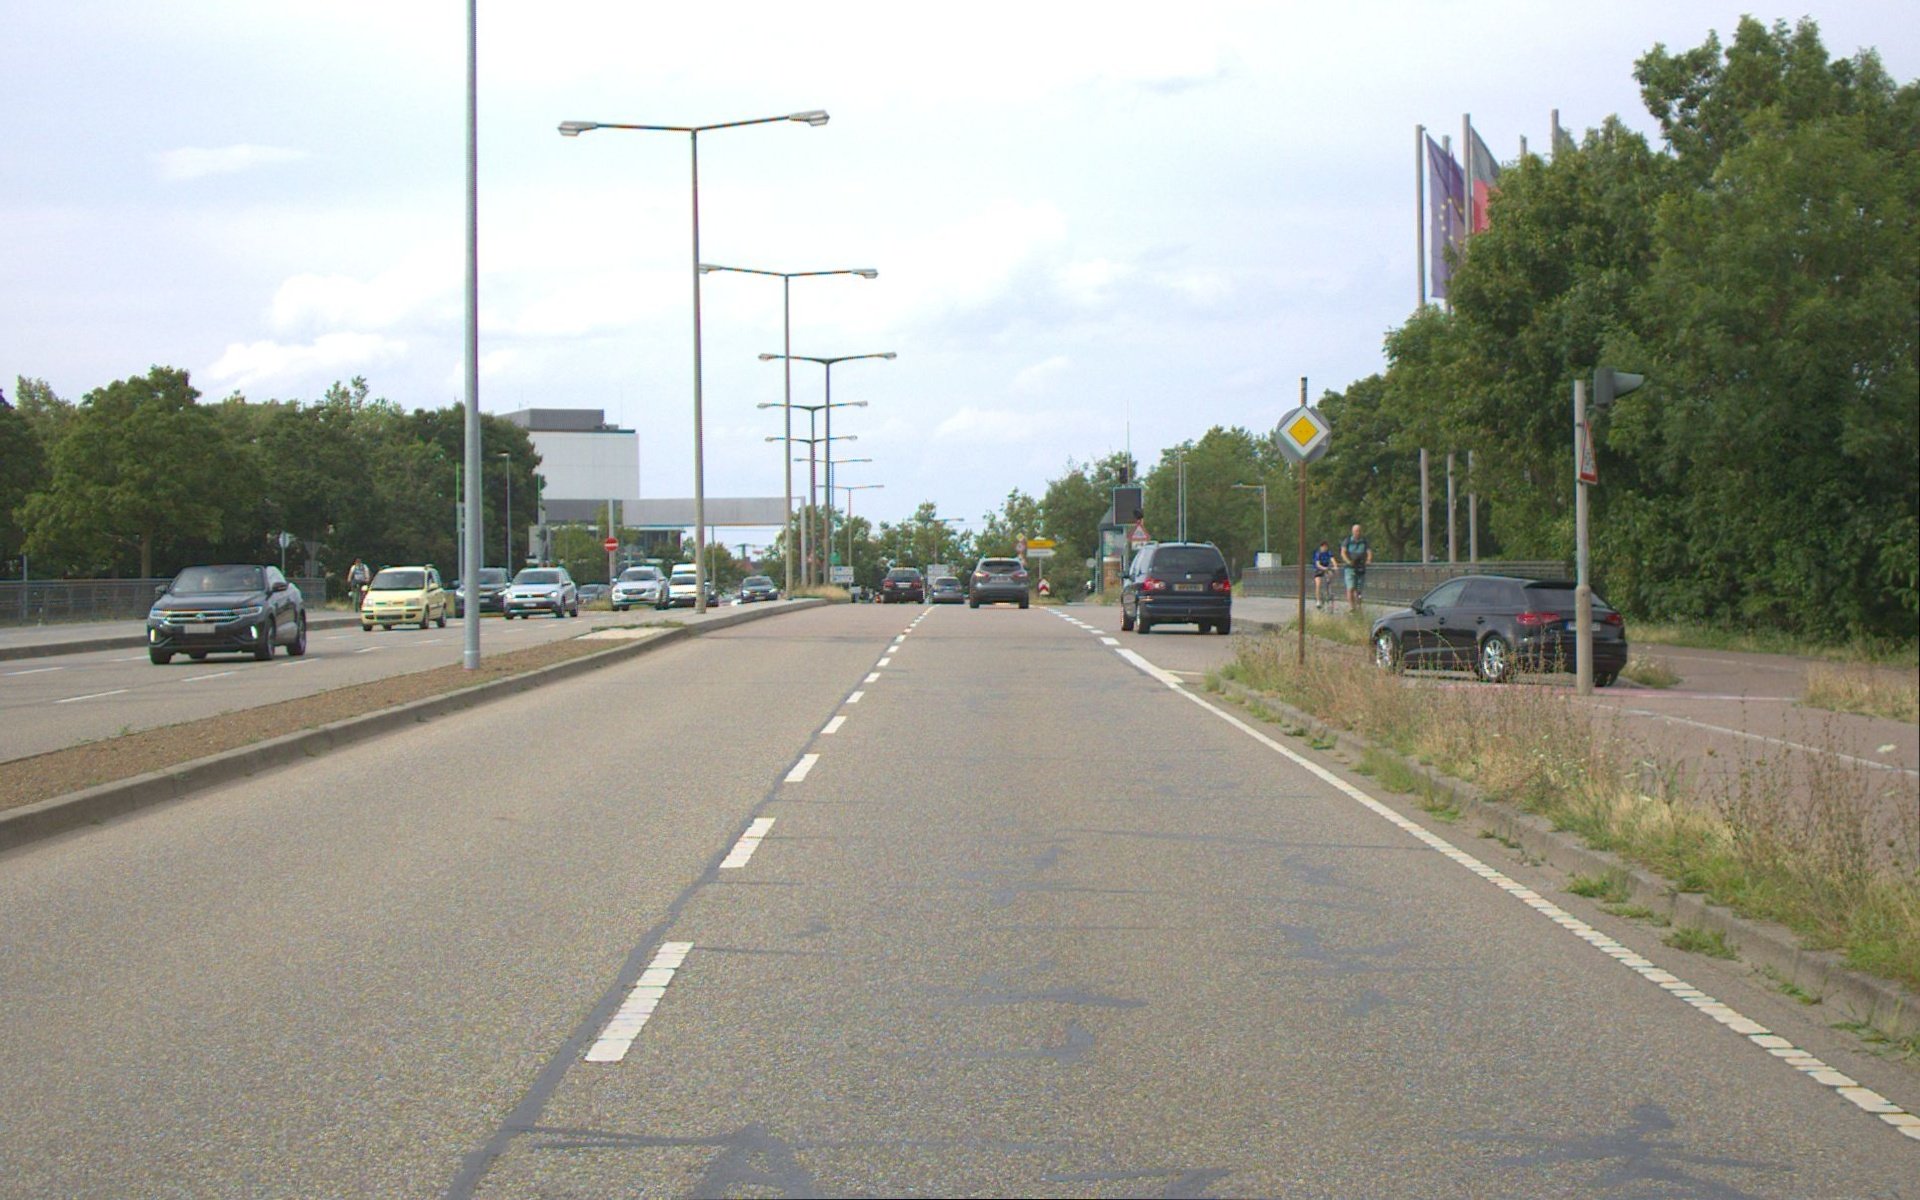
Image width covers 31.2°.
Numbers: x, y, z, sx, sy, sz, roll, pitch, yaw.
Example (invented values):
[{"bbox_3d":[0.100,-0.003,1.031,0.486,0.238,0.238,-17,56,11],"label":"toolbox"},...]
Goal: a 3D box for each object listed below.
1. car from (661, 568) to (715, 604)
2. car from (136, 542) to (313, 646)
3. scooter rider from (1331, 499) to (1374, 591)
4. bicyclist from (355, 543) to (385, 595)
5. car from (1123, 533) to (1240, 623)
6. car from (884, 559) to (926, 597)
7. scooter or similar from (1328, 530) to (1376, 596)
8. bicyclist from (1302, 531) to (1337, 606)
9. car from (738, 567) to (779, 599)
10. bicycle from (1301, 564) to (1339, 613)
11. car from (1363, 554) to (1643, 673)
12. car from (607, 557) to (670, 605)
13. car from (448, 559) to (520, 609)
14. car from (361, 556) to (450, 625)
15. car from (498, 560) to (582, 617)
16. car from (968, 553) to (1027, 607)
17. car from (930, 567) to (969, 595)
[{"bbox_3d":[-11.805,-0.612,149.537,1.738,1.475,4.471,-2,1,3],"label":"car"},{"bbox_3d":[-11.086,-0.125,52.089,1.763,1.436,4.177,-2,1,0],"label":"car"},{"bbox_3d":[7.320,-1.022,64.168,0.587,1.685,0.744,1,0,-9],"label":"scooter rider"},{"bbox_3d":[-18.898,-0.996,110.138,0.795,1.621,0.976,1,0,-3],"label":"bicyclist"},{"bbox_3d":[4.194,-0.406,65.681,1.730,1.647,4.115,1,0,-3],"label":"car"},{"bbox_3d":[-2.447,-0.981,153.564,1.730,1.647,4.115,1,0,0],"label":"car"},{"bbox_3d":[7.311,-0.696,64.214,0.588,1.220,1.203,1,0,-8],"label":"scooter or similar"},{"bbox_3d":[8.044,-0.715,76.894,0.664,1.653,0.805,1,2,-1],"label":"bicyclist"},{"bbox_3d":[-10.190,-0.853,174.191,1.738,1.475,4.776,-2,0,0],"label":"car"},{"bbox_3d":[8.044,-0.264,76.890,0.577,1.018,1.976,-3,2,0],"label":"bicycle"},{"bbox_3d":[6.984,0.135,44.627,1.730,1.390,4.116,-1,2,-21],"label":"car"},{"bbox_3d":[-12.298,-0.735,131.686,1.863,1.719,4.770,-2,1,1],"label":"car"},{"bbox_3d":[-15.176,-0.531,109.755,1.739,1.510,4.316,-2,1,-1],"label":"car"},{"bbox_3d":[-13.537,-0.257,84.120,1.548,1.572,3.691,-2,1,0],"label":"car"},{"bbox_3d":[-12.041,-0.342,98.727,1.650,1.510,4.016,-2,1,3],"label":"car"},{"bbox_3d":[1.167,-0.613,108.103,1.730,1.647,4.115,1,0,-1],"label":"car"},{"bbox_3d":[-0.605,-1.043,190.004,1.730,1.521,4.115,1,0,-6],"label":"car"}]
